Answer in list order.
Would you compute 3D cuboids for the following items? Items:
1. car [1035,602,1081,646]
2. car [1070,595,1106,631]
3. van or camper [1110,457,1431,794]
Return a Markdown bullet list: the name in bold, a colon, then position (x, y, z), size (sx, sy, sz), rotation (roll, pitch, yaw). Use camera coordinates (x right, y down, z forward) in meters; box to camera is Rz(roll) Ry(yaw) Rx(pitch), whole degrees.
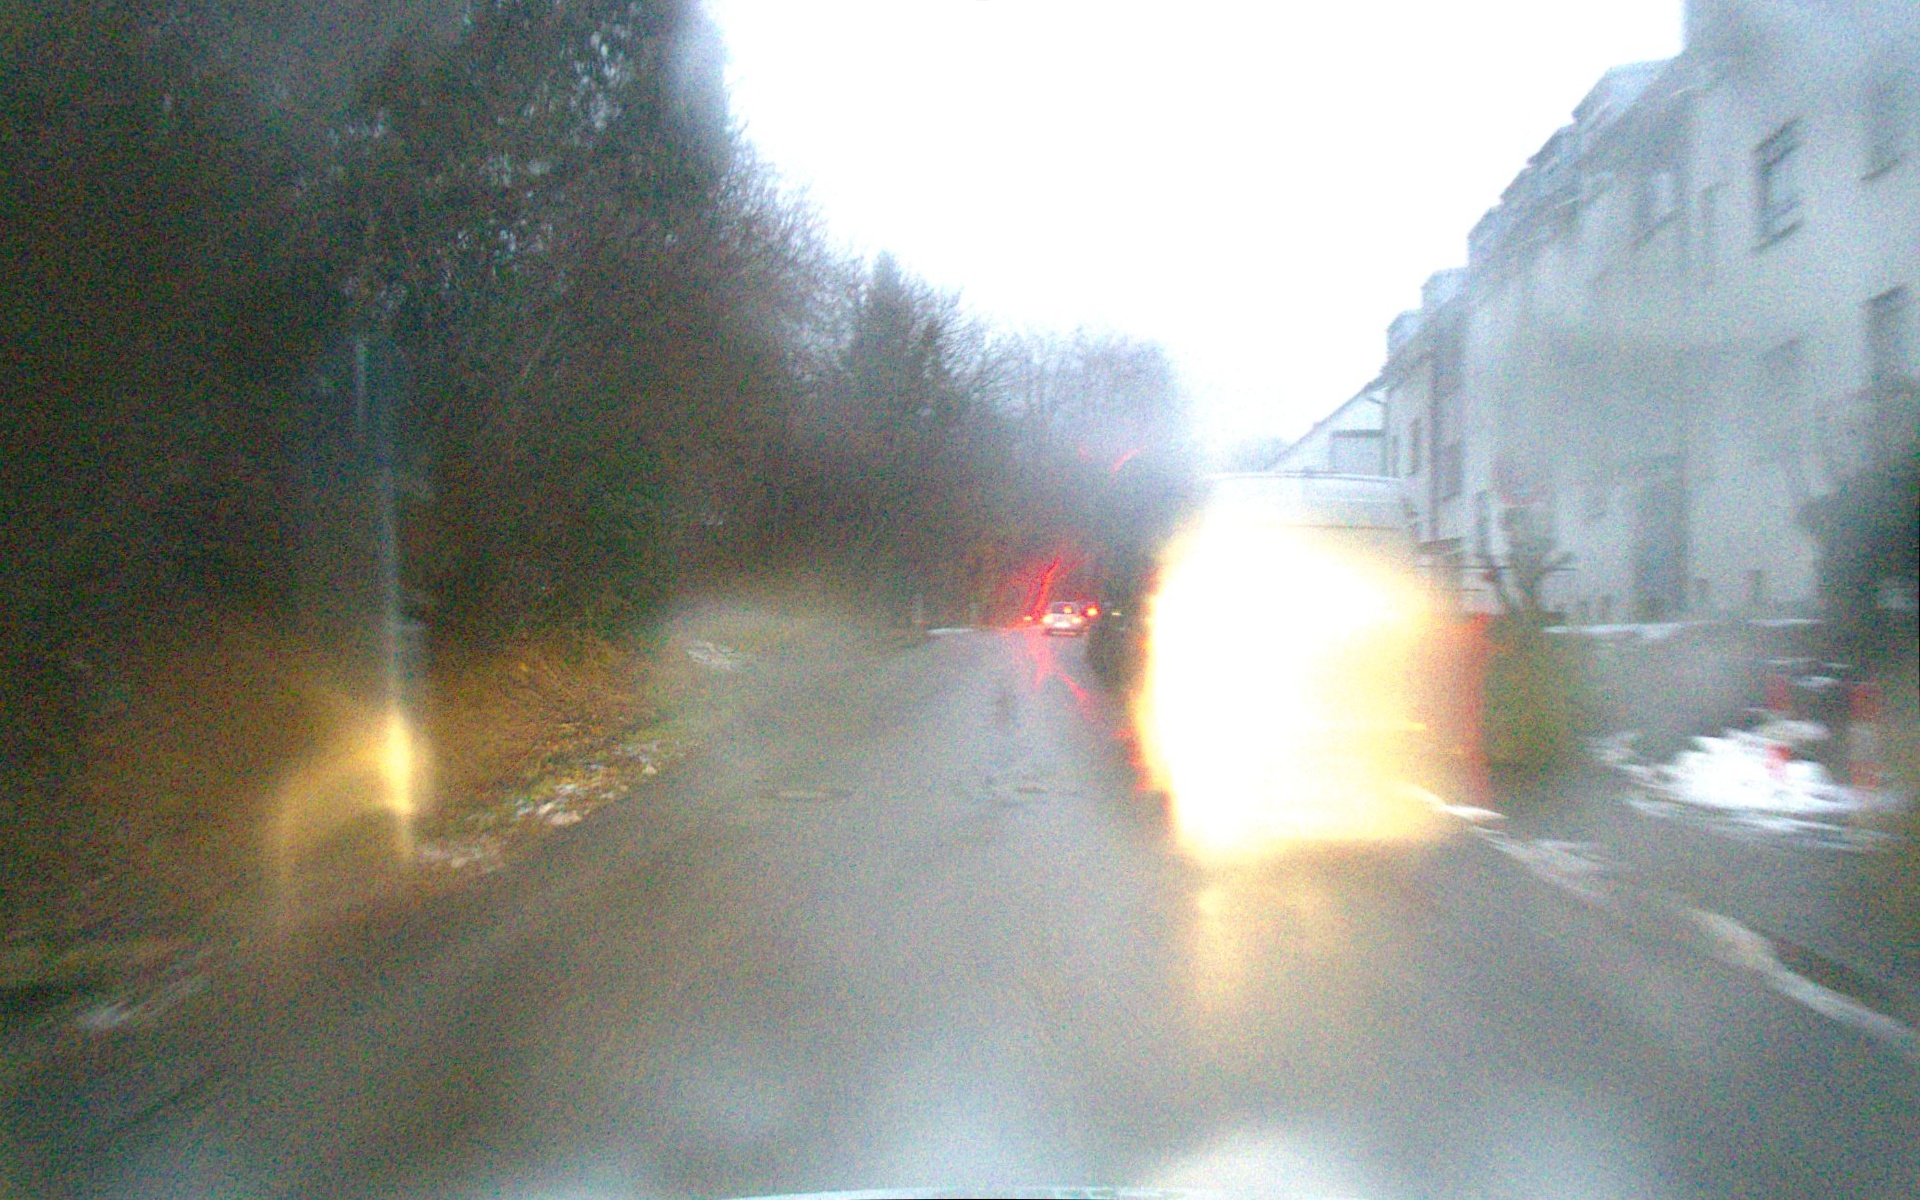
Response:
- **car**: position (4.267, 1.009, 71.320), size (1.892, 1.812, 4.002), rotation (1, 0, 4)
- **car**: position (6.574, 0.662, 84.687), size (1.654, 1.806, 3.863), rotation (1, 0, 6)
- **van or camper**: position (2.687, 0.210, 16.089), size (1.972, 2.551, 6.794), rotation (1, 0, 1)
